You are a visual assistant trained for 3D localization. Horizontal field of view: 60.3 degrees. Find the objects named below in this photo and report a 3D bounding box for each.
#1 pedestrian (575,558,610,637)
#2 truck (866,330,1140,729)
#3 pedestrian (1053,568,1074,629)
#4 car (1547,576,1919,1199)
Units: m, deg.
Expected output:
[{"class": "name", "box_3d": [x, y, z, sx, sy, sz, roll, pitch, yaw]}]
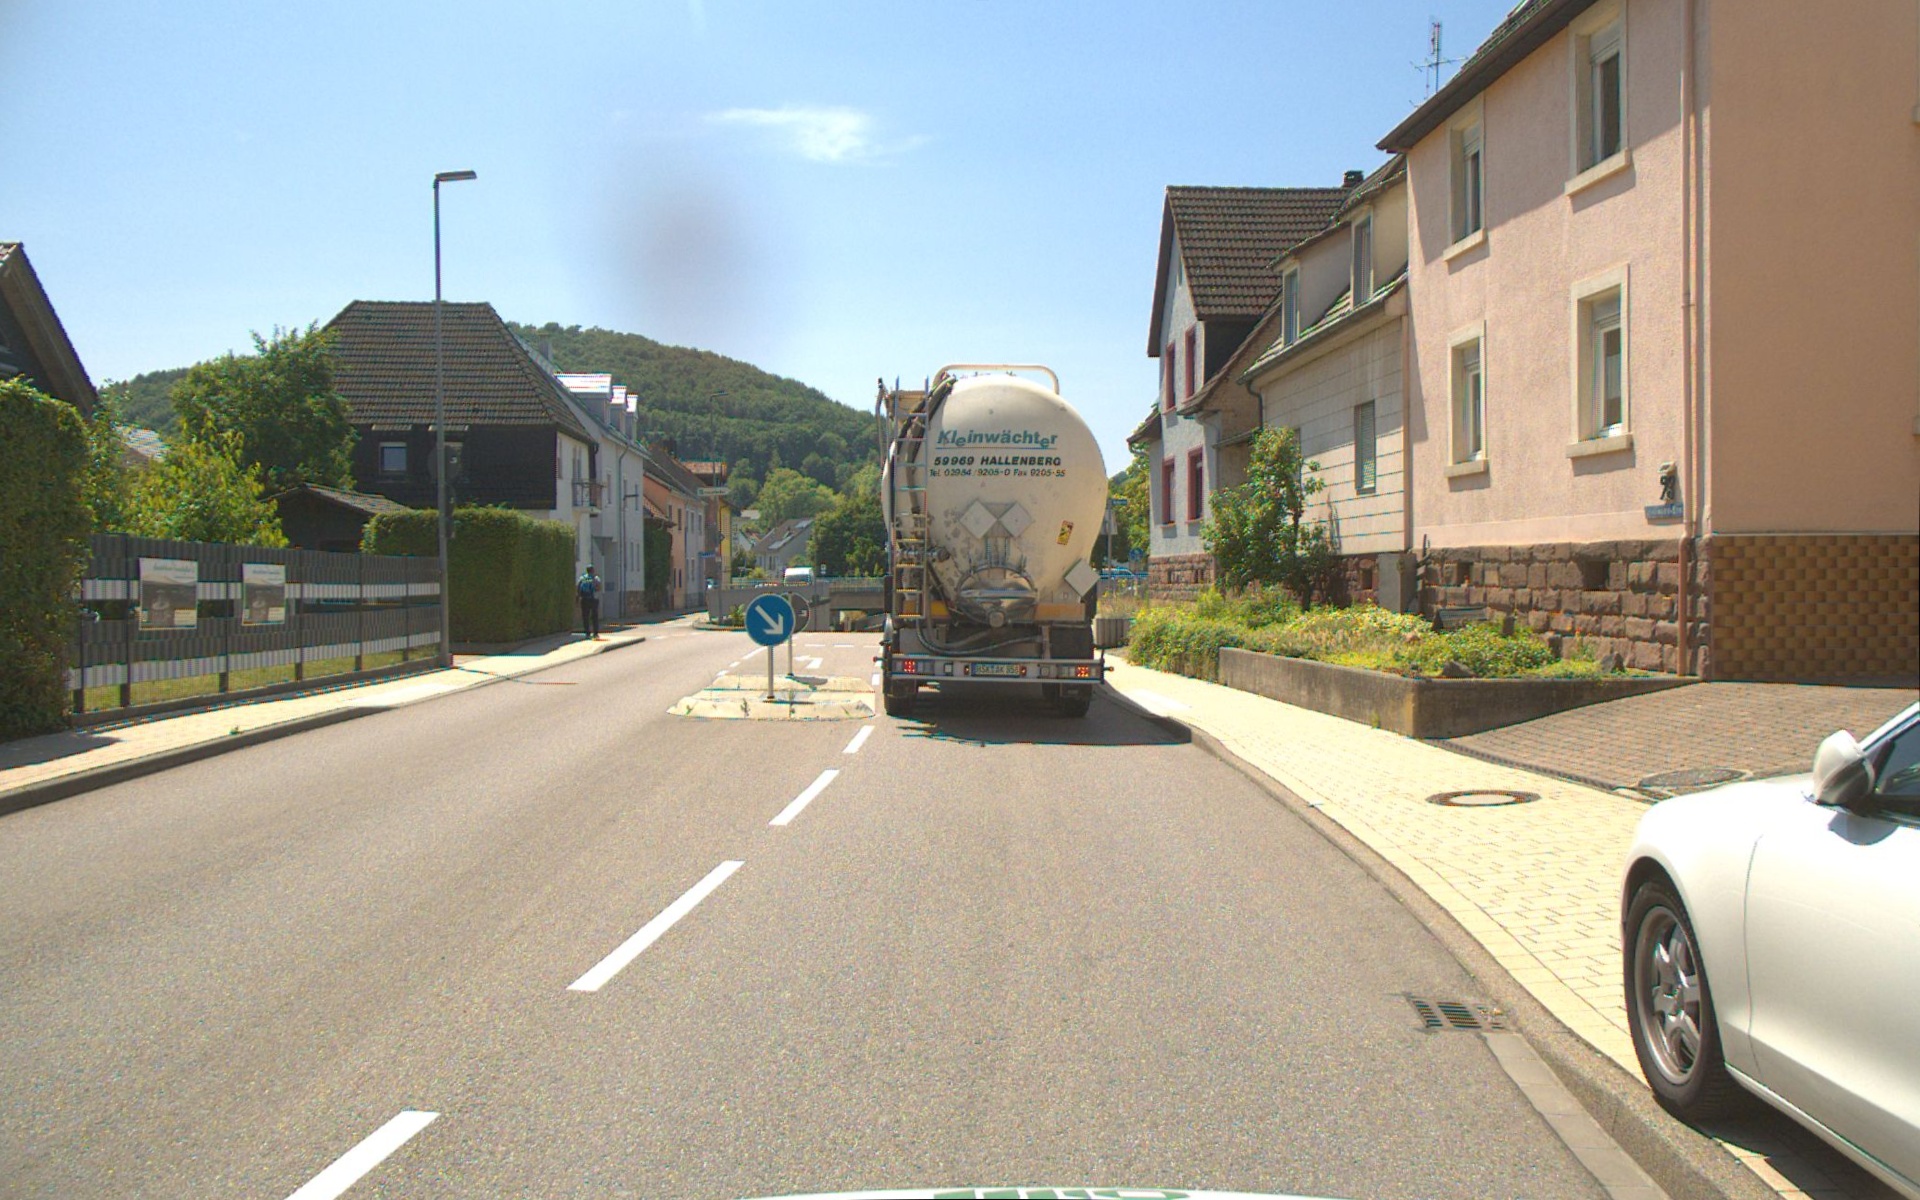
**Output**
[{"class": "pedestrian", "box_3d": [-8.777, -0.051, 39.516, 0.698, 1.855, 0.897, 1, -1, -7]}, {"class": "truck", "box_3d": [0.144, -0.778, 22.636, 2.696, 4.127, 10.880, 0, 1, -4]}, {"class": "pedestrian", "box_3d": [2.969, -0.045, 47.465, 0.559, 1.723, 0.721, 1, -1, 0]}, {"class": "car", "box_3d": [2.677, 0.637, 3.034, 1.720, 1.442, 4.634, -3, -1, 3]}]
